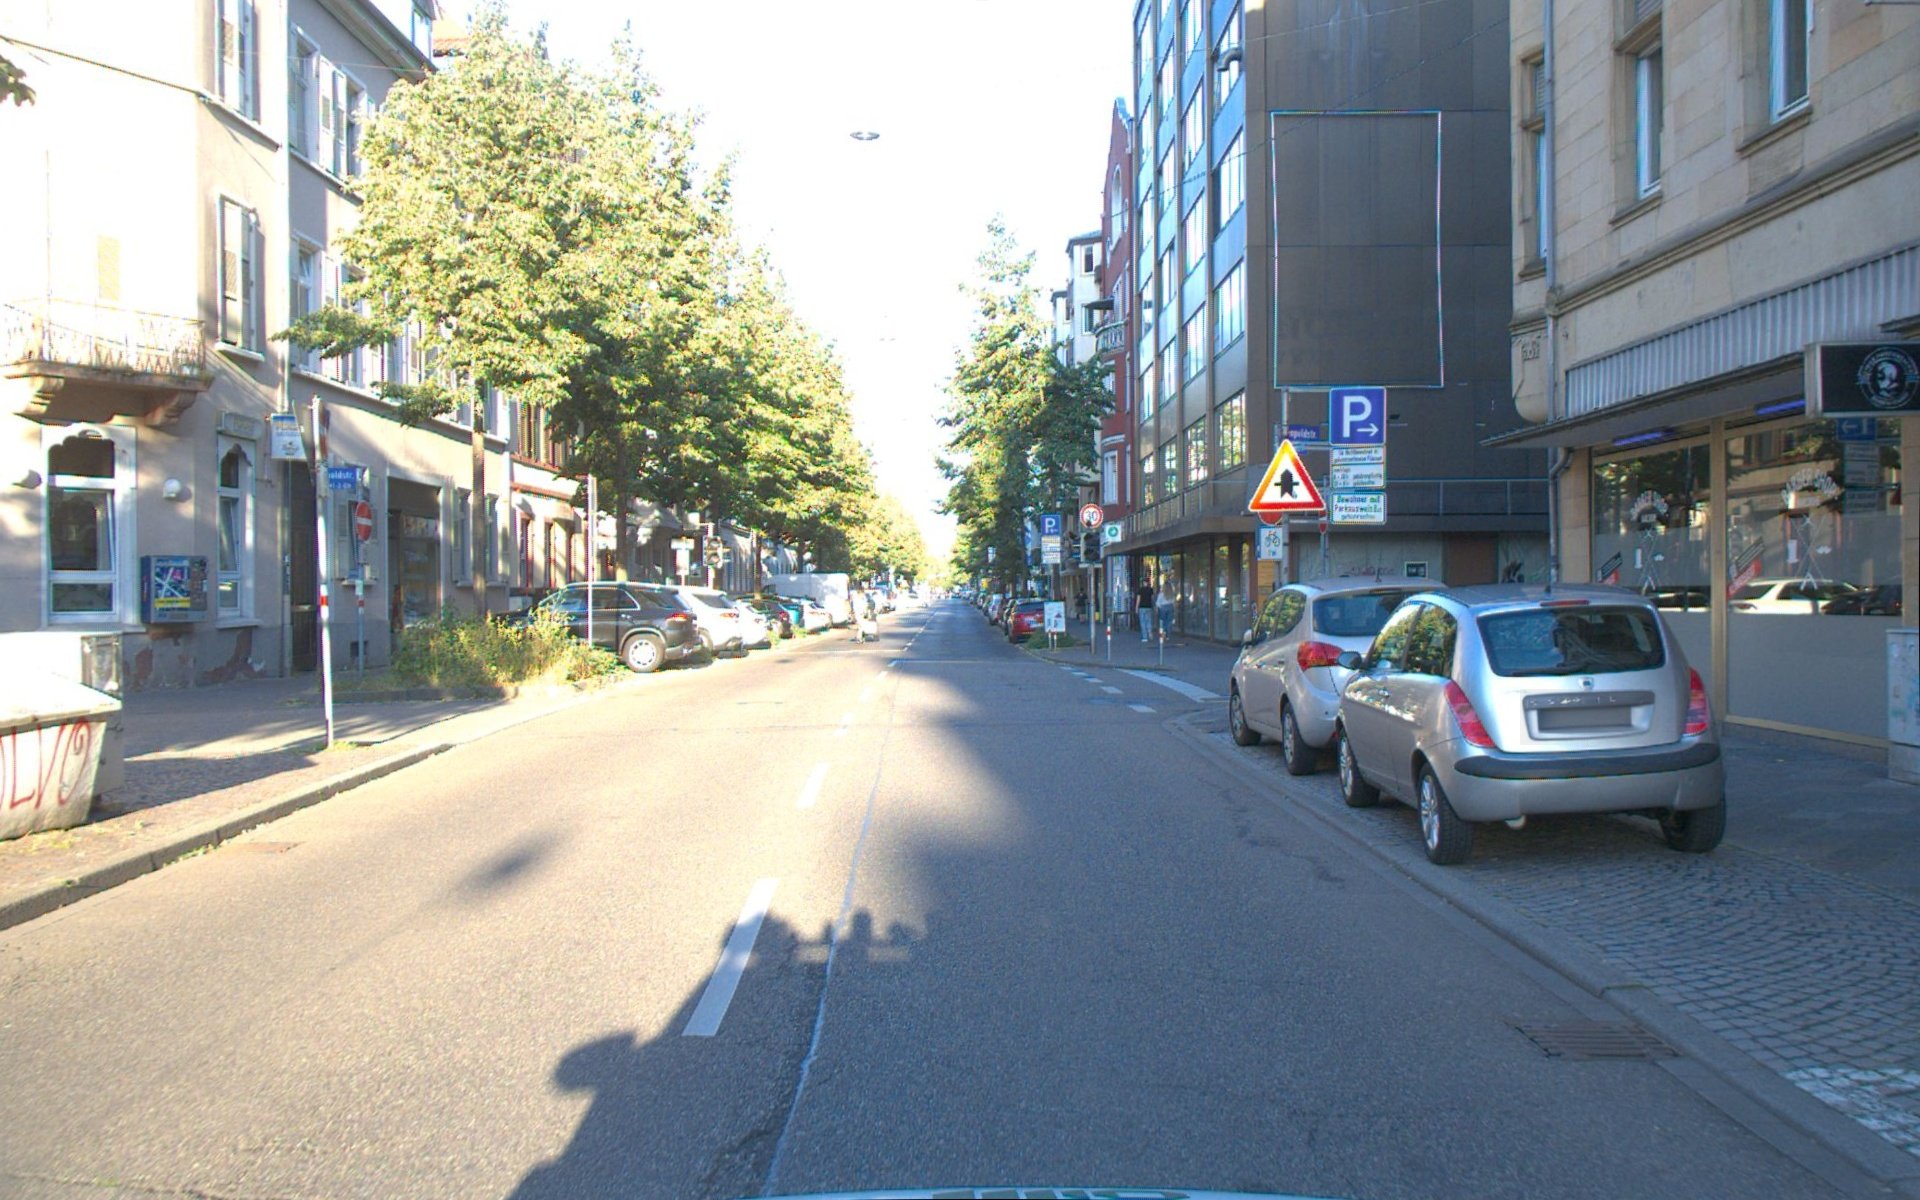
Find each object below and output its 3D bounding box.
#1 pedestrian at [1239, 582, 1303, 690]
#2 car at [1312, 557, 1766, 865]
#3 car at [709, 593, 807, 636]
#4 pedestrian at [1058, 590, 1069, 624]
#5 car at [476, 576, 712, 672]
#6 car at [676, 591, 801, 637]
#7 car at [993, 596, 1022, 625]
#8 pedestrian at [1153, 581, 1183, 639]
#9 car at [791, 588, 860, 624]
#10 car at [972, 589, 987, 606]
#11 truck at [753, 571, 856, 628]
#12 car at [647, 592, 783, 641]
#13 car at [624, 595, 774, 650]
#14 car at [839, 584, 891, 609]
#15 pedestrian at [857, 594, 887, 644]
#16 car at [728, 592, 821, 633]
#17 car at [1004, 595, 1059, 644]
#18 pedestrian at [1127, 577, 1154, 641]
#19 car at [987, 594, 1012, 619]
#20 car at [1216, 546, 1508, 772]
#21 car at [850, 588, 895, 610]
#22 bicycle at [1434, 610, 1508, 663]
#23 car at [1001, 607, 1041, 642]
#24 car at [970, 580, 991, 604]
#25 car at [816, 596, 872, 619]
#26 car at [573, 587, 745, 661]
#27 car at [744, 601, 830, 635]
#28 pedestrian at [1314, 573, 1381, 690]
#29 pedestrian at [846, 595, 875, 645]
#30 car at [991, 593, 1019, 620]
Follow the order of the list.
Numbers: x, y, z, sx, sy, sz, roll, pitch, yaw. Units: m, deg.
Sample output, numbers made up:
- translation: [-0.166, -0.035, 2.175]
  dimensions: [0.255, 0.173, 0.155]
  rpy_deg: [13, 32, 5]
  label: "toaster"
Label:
- translation: [4.935, 0.554, 26.281]
  dimensions: [0.739, 1.669, 1.259]
  rpy_deg: [1, 0, -1]
  label: "pedestrian"
- translation: [3.508, 0.567, 10.812]
  dimensions: [1.645, 1.588, 4.001]
  rpy_deg: [-2, 1, 2]
  label: "car"
- translation: [-8.038, 0.580, 66.077]
  dimensions: [3.663, 1.671, 2.000]
  rpy_deg: [1, 0, -1]
  label: "car"
- translation: [5.089, 0.359, 81.382]
  dimensions: [0.523, 1.650, 0.534]
  rpy_deg: [1, 0, 0]
  label: "pedestrian"
- translation: [-7.443, 0.505, 33.988]
  dimensions: [4.358, 1.867, 2.033]
  rpy_deg: [1, -2, -1]
  label: "car"
- translation: [-8.175, 0.517, 61.252]
  dimensions: [4.336, 1.529, 2.000]
  rpy_deg: [2, 0, -1]
  label: "car"
- translation: [2.272, 0.502, 79.141]
  dimensions: [1.182, 1.323, 2.659]
  rpy_deg: [0, 0, -3]
  label: "car"
- translation: [6.285, 0.296, 49.925]
  dimensions: [0.750, 1.718, 0.786]
  rpy_deg: [-1, 0, -3]
  label: "pedestrian"
- translation: [-7.370, 0.338, 90.919]
  dimensions: [3.663, 1.891, 2.000]
  rpy_deg: [1, 0, -1]
  label: "car"
- translation: [1.874, -0.203, 161.543]
  dimensions: [1.283, 1.628, 2.659]
  rpy_deg: [0, 0, -3]
  label: "car"
- translation: [-7.515, -0.025, 80.270]
  dimensions: [4.840, 2.661, 2.000]
  rpy_deg: [0, 0, -1]
  label: "truck"
- translation: [-8.298, 0.543, 56.308]
  dimensions: [4.336, 1.627, 2.000]
  rpy_deg: [0, 0, -1]
  label: "car"
- translation: [-7.660, 0.659, 48.881]
  dimensions: [4.090, 1.533, 2.000]
  rpy_deg: [1, 0, -1]
  label: "car"
- translation: [-6.923, -0.244, 120.613]
  dimensions: [3.663, 1.738, 2.000]
  rpy_deg: [1, 1, -1]
  label: "car"
- translation: [-3.049, 0.672, 57.416]
  dimensions: [0.717, 1.712, 0.746]
  rpy_deg: [1, 0, -40]
  label: "pedestrian"
- translation: [-7.707, 0.539, 68.827]
  dimensions: [3.663, 1.624, 1.999]
  rpy_deg: [0, -2, -1]
  label: "car"
- translation: [2.460, 0.673, 57.510]
  dimensions: [1.545, 1.569, 3.395]
  rpy_deg: [-2, 0, -3]
  label: "car"
- translation: [5.436, 0.259, 49.839]
  dimensions: [0.700, 1.898, 0.679]
  rpy_deg: [-1, 0, -3]
  label: "pedestrian"
- translation: [2.117, 0.369, 89.645]
  dimensions: [1.182, 1.323, 2.659]
  rpy_deg: [0, 0, -3]
  label: "car"
- translation: [3.545, 0.448, 15.304]
  dimensions: [1.662, 1.800, 3.999]
  rpy_deg: [-1, 1, -1]
  label: "car"
- translation: [-7.345, -0.069, 138.375]
  dimensions: [3.663, 1.738, 2.000]
  rpy_deg: [1, 1, -1]
  label: "car"
- translation: [10.902, 0.761, 35.311]
  dimensions: [0.409, 1.056, 1.760]
  rpy_deg: [-2, 2, -26]
  label: "bicycle"
- translation: [2.367, 0.946, 64.431]
  dimensions: [1.278, 1.315, 3.012]
  rpy_deg: [-1, 0, -3]
  label: "car"
- translation: [1.429, -0.561, 115.746]
  dimensions: [1.283, 1.628, 2.659]
  rpy_deg: [0, 0, -3]
  label: "car"
- translation: [-7.913, 0.491, 113.119]
  dimensions: [3.663, 1.519, 2.000]
  rpy_deg: [1, 0, -1]
  label: "car"
- translation: [-7.361, 0.567, 40.745]
  dimensions: [3.908, 1.738, 1.833]
  rpy_deg: [1, 1, -1]
  label: "car"
- translation: [-7.705, 0.803, 73.877]
  dimensions: [3.663, 1.475, 2.000]
  rpy_deg: [1, 0, -1]
  label: "car"
- translation: [6.091, 0.477, 26.038]
  dimensions: [0.739, 1.798, 1.222]
  rpy_deg: [1, 0, -1]
  label: "pedestrian"
- translation: [-3.387, 0.671, 56.212]
  dimensions: [0.710, 1.702, 0.700]
  rpy_deg: [0, 0, -40]
  label: "pedestrian"
- translation: [2.222, 0.321, 82.275]
  dimensions: [1.182, 1.323, 2.659]
  rpy_deg: [0, 0, -3]
  label: "car"
